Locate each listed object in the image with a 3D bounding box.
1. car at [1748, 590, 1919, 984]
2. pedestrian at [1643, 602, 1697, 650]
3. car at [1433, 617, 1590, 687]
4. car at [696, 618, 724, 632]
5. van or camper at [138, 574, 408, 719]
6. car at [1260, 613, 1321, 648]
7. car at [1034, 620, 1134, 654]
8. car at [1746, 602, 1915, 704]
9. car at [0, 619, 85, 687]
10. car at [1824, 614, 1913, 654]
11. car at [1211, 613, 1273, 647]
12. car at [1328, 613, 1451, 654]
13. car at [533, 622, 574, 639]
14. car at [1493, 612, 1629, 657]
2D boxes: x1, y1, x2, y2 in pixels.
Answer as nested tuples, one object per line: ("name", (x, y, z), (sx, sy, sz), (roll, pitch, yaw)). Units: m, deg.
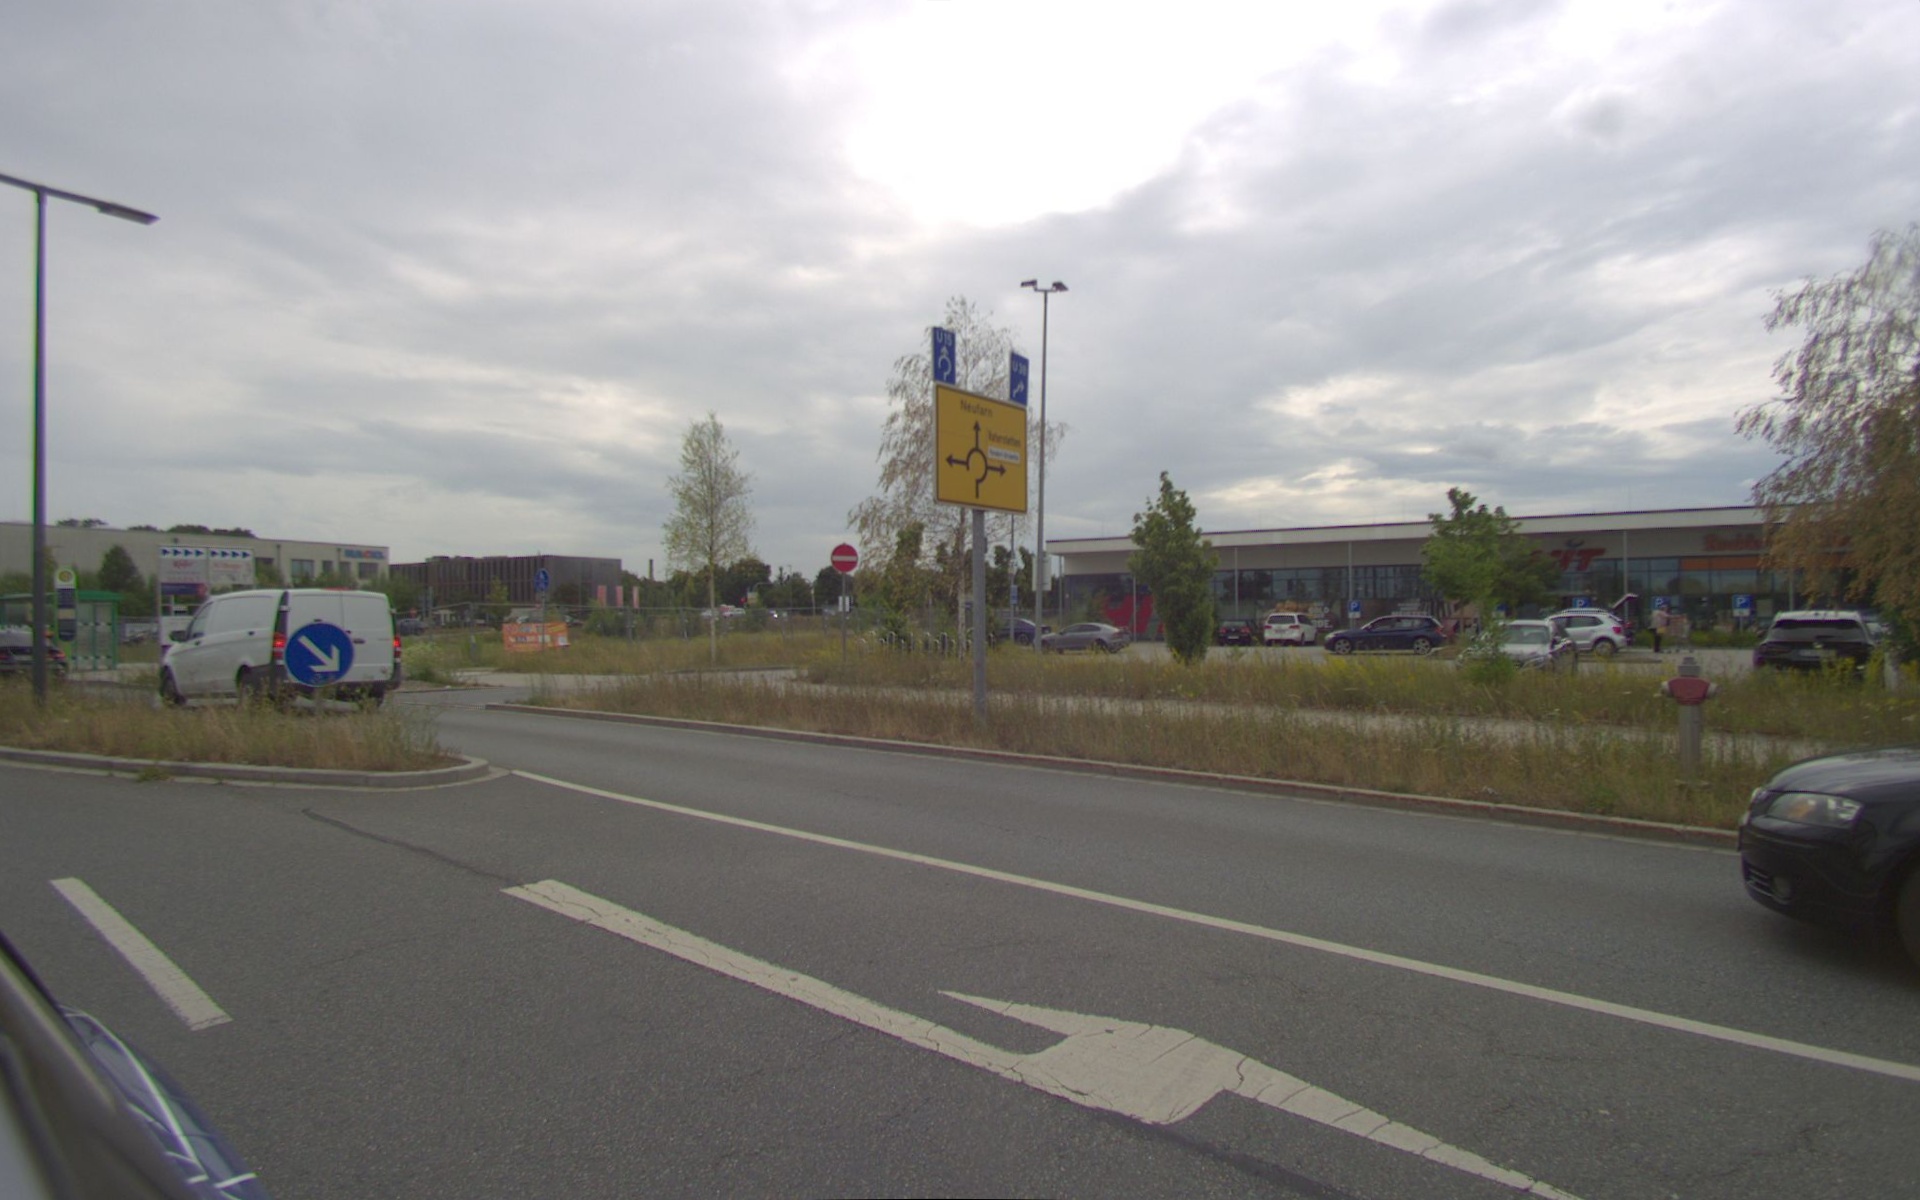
("car", (5.321, 0.696, 3.309), (4.234, 1.456, 1.699), (-1, -2, 42))
("pedestrian", (24.536, 0.905, 35.002), (1.245, 1.619, 0.886), (-1, -1, 13))
("car", (12.442, 1.086, 22.684), (2.141, 1.377, 4.518), (-1, -1, 41))
("car", (-33.395, 3.289, 135.313), (1.982, 1.730, 3.979), (-1, 0, 16))
("van or camper", (-11.240, 0.709, 16.433), (5.116, 2.023, 1.930), (-1, -2, 35))
("car", (16.975, 1.533, 51.906), (1.948, 1.741, 3.953), (-1, -1, 34))
("car", (5.685, 1.677, 46.444), (4.180, 1.463, 1.812), (-1, -1, 31))
("car", (16.008, 0.886, 18.548), (2.086, 1.646, 3.898), (-1, -1, 45))
("car", (-23.212, 1.225, 24.206), (4.887, 1.494, 2.148), (-1, -1, 32))
("car", (35.661, 1.302, 39.821), (1.994, 1.486, 3.954), (-1, -1, 33))
("car", (14.951, 1.562, 53.511), (1.995, 1.741, 3.953), (-1, -1, 34))
("car", (15.875, 1.223, 37.420), (4.045, 1.453, 1.833), (-1, -1, 27))
("car", (-43.570, 3.258, 108.559), (1.982, 1.730, 3.979), (-1, 0, 16))
("car", (20.495, 1.140, 34.614), (3.891, 1.453, 1.870), (-1, -1, 32))
